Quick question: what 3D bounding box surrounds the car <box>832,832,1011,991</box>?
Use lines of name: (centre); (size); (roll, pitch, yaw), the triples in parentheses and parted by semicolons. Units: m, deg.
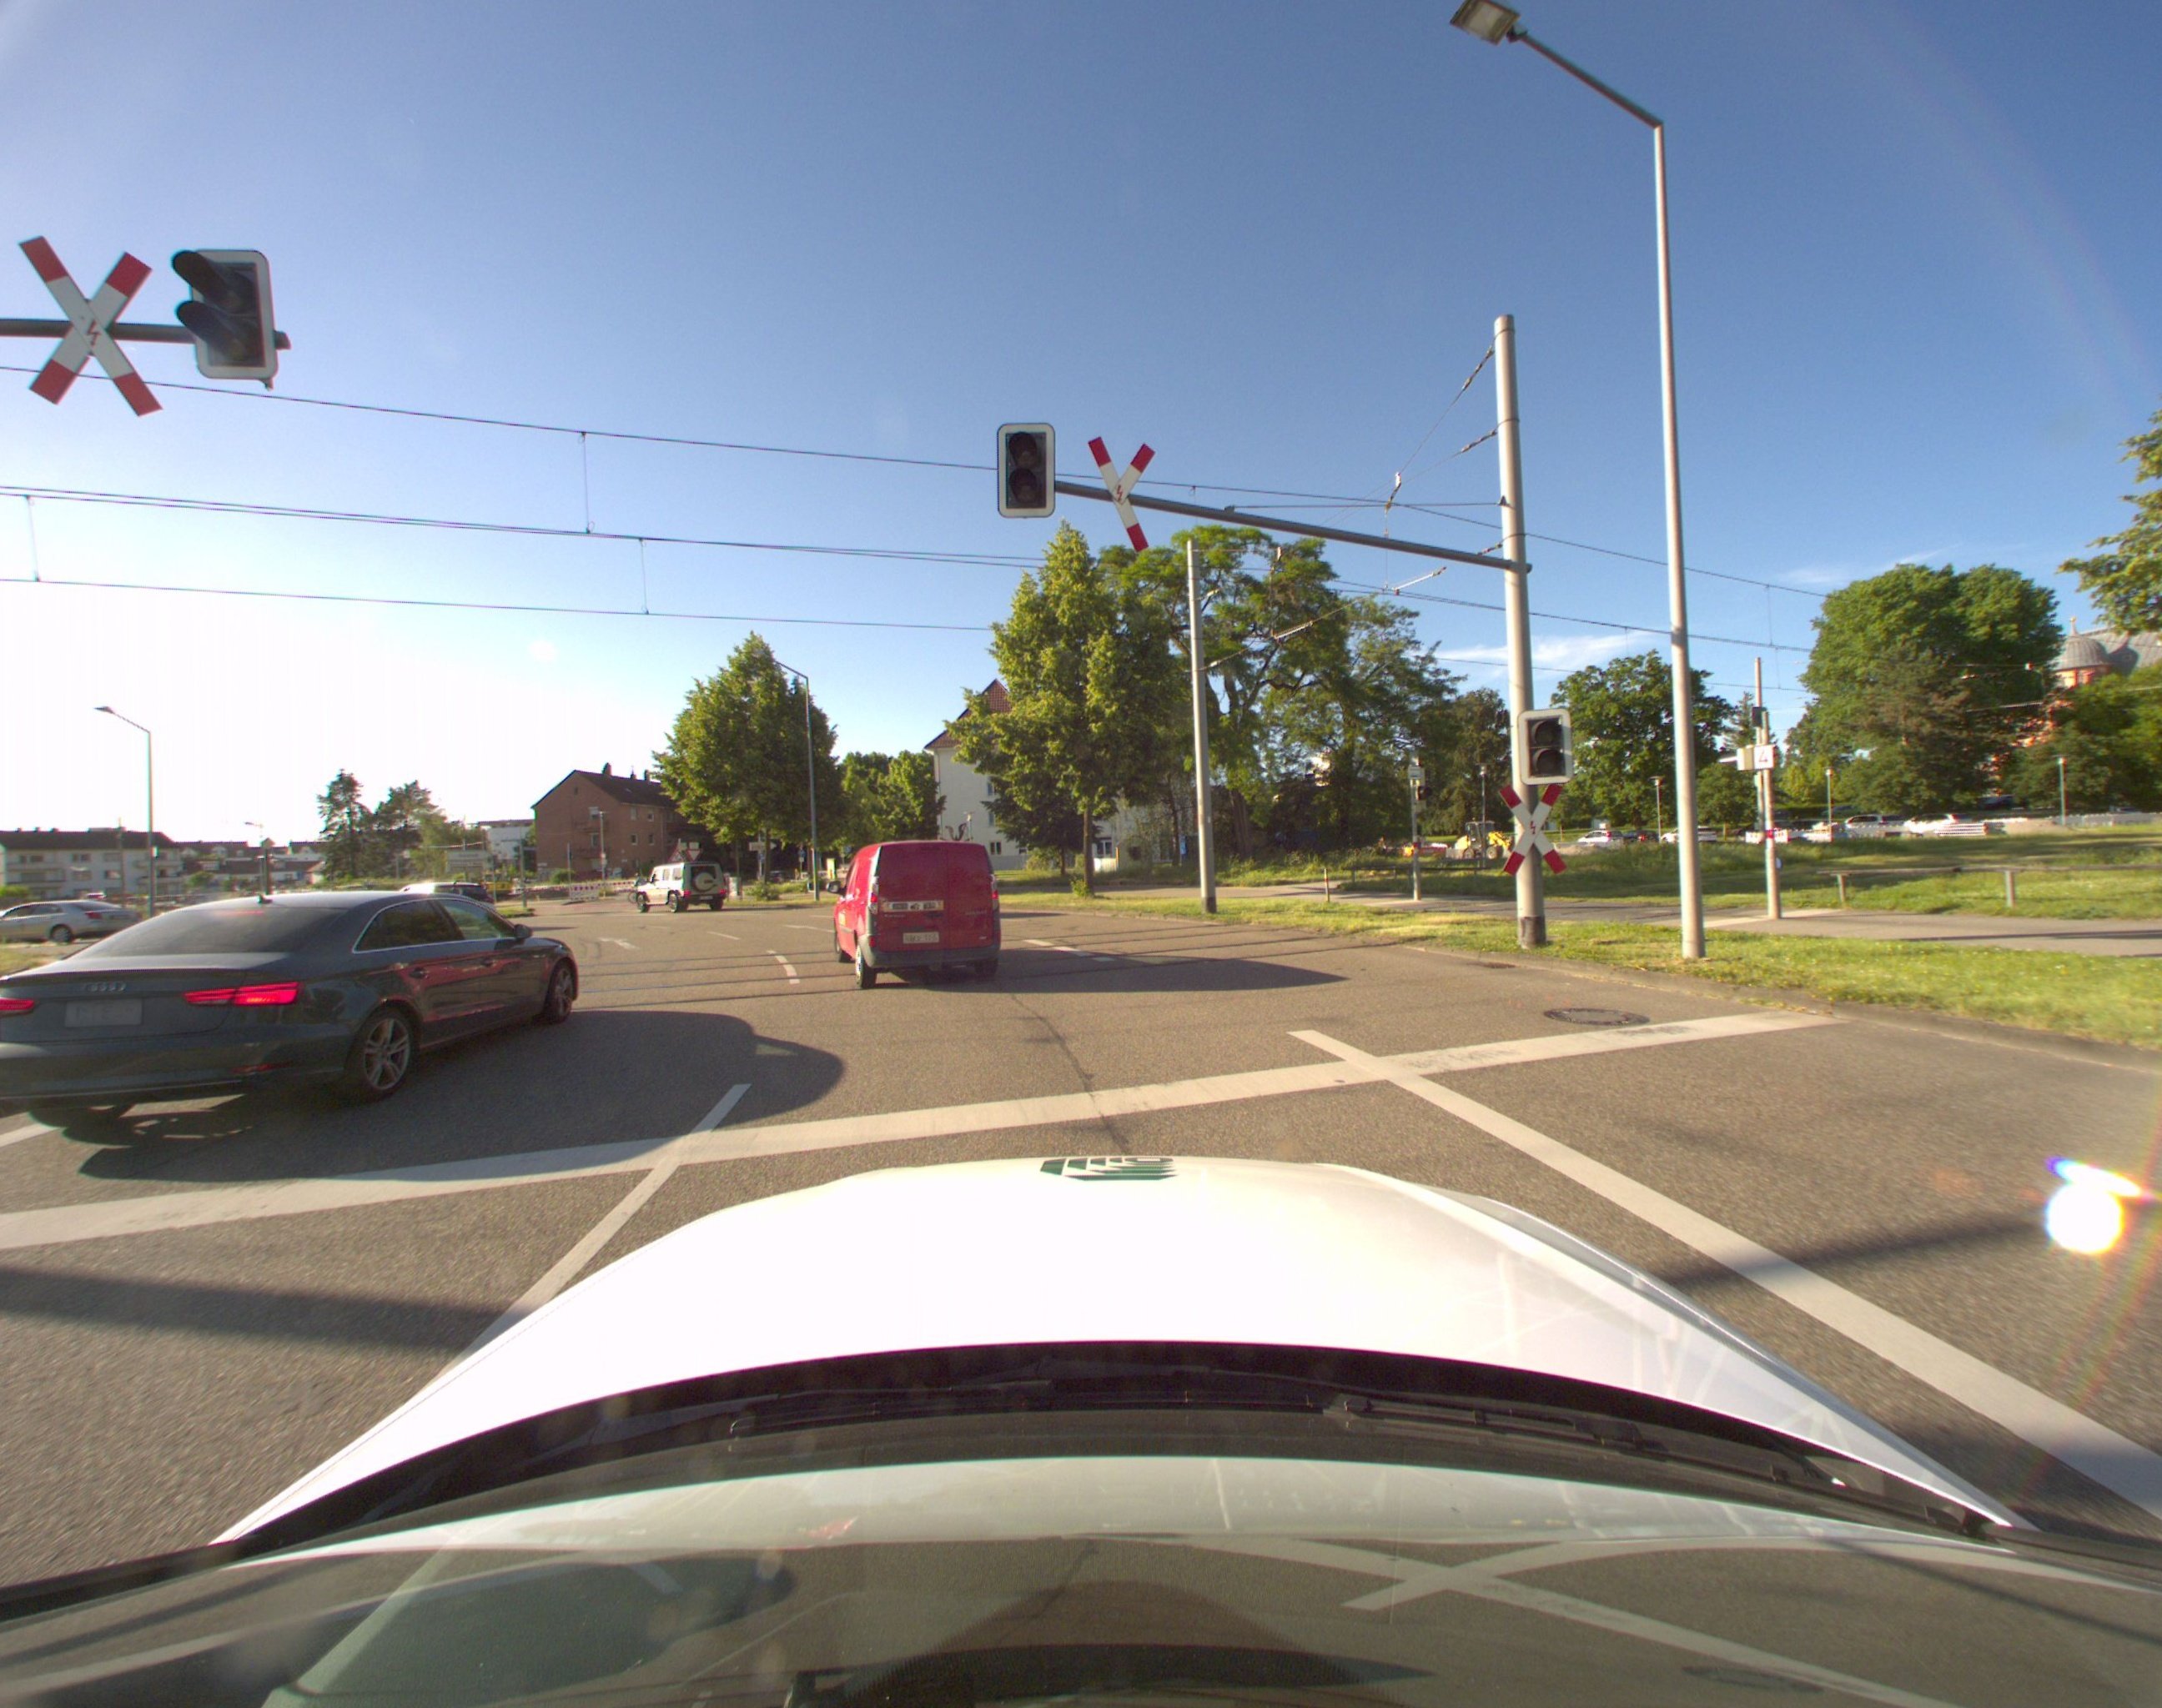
car: (-2.403, 0.677, 11.457); (1.809, 1.813, 3.782); (-1, -1, -21)

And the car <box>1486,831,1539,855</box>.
car: (31.834, -0.779, 60.210); (1.912, 1.557, 3.951); (-2, -2, 2)

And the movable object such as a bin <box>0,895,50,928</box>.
movable object such as a bin: (-99.177, 5.370, 72.912); (2.907, 2.782, 7.978); (-2, 0, 24)

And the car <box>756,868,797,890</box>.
car: (-28.054, 2.295, 75.112); (1.984, 1.872, 4.005); (-2, -2, 5)

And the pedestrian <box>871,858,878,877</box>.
pedestrian: (-21.633, 1.427, 85.297); (0.467, 2.013, 0.456); (-3, 0, 11)

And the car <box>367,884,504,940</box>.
car: (-18.928, 1.652, 23.879); (3.761, 1.461, 1.819); (-2, -1, 29)

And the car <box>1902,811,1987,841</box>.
car: (63.936, -2.025, 60.402); (1.986, 1.959, 4.001); (-2, -2, 1)

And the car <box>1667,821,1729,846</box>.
car: (45.749, -1.483, 60.446); (1.820, 1.556, 3.809); (-2, -2, 3)

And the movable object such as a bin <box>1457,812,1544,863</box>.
movable object such as a bin: (24.971, -0.921, 48.717); (1.993, 2.789, 5.031); (-1, -2, -9)

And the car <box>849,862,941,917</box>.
car: (-5.719, 1.054, 24.691); (1.723, 1.436, 4.114); (-2, -1, -27)

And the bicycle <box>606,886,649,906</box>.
bicycle: (-26.392, 2.418, 47.459); (2.003, 1.027, 0.740); (-2, 2, -9)

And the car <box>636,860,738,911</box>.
car: (-16.183, 1.316, 33.327); (4.691, 1.897, 2.016); (-3, -1, 41)

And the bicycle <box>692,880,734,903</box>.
bicycle: (-20.925, 2.131, 46.319); (2.184, 1.266, 0.822); (-2, -2, 18)

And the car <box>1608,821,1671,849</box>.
car: (41.534, -1.381, 60.680); (1.986, 1.769, 4.001); (-2, -2, 1)

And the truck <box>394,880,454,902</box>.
truck: (-68.463, 3.857, 84.833); (6.356, 2.014, 2.183); (-2, -2, 24)

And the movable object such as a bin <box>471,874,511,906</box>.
movable object such as a bin: (-52.896, 3.236, 72.970); (2.440, 2.774, 3.951); (0, -2, -43)

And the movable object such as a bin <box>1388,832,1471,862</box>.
movable object such as a bin: (25.028, -0.488, 58.612); (5.000, 1.948, 2.234); (-2, -2, -7)

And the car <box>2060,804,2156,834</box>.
car: (75.832, -2.575, 60.213); (1.986, 1.896, 4.001); (-2, -2, 1)

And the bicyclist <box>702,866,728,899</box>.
bicyclist: (-20.801, 1.599, 46.299); (1.014, 1.852, 0.816); (-2, -2, 18)

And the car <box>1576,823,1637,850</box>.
car: (39.396, -1.278, 61.170); (1.986, 1.723, 4.001); (-2, -2, 1)

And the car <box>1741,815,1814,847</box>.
car: (51.378, -1.670, 60.183); (1.986, 2.100, 4.001); (-2, -2, 1)

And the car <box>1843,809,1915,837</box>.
car: (59.036, -2.273, 60.304); (1.681, 1.779, 3.852); (-2, -2, 5)

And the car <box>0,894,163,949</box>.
car: (-35.188, 2.334, 28.154); (4.384, 1.575, 1.998); (-3, 0, -3)

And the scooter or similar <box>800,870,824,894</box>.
scooter or similar: (-14.690, 1.505, 44.486); (1.249, 1.248, 0.447); (-4, -3, 24)

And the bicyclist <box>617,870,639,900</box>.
bicyclist: (-26.368, 1.793, 47.435); (0.851, 1.680, 0.740); (-2, 2, -9)

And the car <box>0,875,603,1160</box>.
car: (-5.725, 0.931, 6.527); (1.760, 1.380, 4.345); (-1, 0, -9)
